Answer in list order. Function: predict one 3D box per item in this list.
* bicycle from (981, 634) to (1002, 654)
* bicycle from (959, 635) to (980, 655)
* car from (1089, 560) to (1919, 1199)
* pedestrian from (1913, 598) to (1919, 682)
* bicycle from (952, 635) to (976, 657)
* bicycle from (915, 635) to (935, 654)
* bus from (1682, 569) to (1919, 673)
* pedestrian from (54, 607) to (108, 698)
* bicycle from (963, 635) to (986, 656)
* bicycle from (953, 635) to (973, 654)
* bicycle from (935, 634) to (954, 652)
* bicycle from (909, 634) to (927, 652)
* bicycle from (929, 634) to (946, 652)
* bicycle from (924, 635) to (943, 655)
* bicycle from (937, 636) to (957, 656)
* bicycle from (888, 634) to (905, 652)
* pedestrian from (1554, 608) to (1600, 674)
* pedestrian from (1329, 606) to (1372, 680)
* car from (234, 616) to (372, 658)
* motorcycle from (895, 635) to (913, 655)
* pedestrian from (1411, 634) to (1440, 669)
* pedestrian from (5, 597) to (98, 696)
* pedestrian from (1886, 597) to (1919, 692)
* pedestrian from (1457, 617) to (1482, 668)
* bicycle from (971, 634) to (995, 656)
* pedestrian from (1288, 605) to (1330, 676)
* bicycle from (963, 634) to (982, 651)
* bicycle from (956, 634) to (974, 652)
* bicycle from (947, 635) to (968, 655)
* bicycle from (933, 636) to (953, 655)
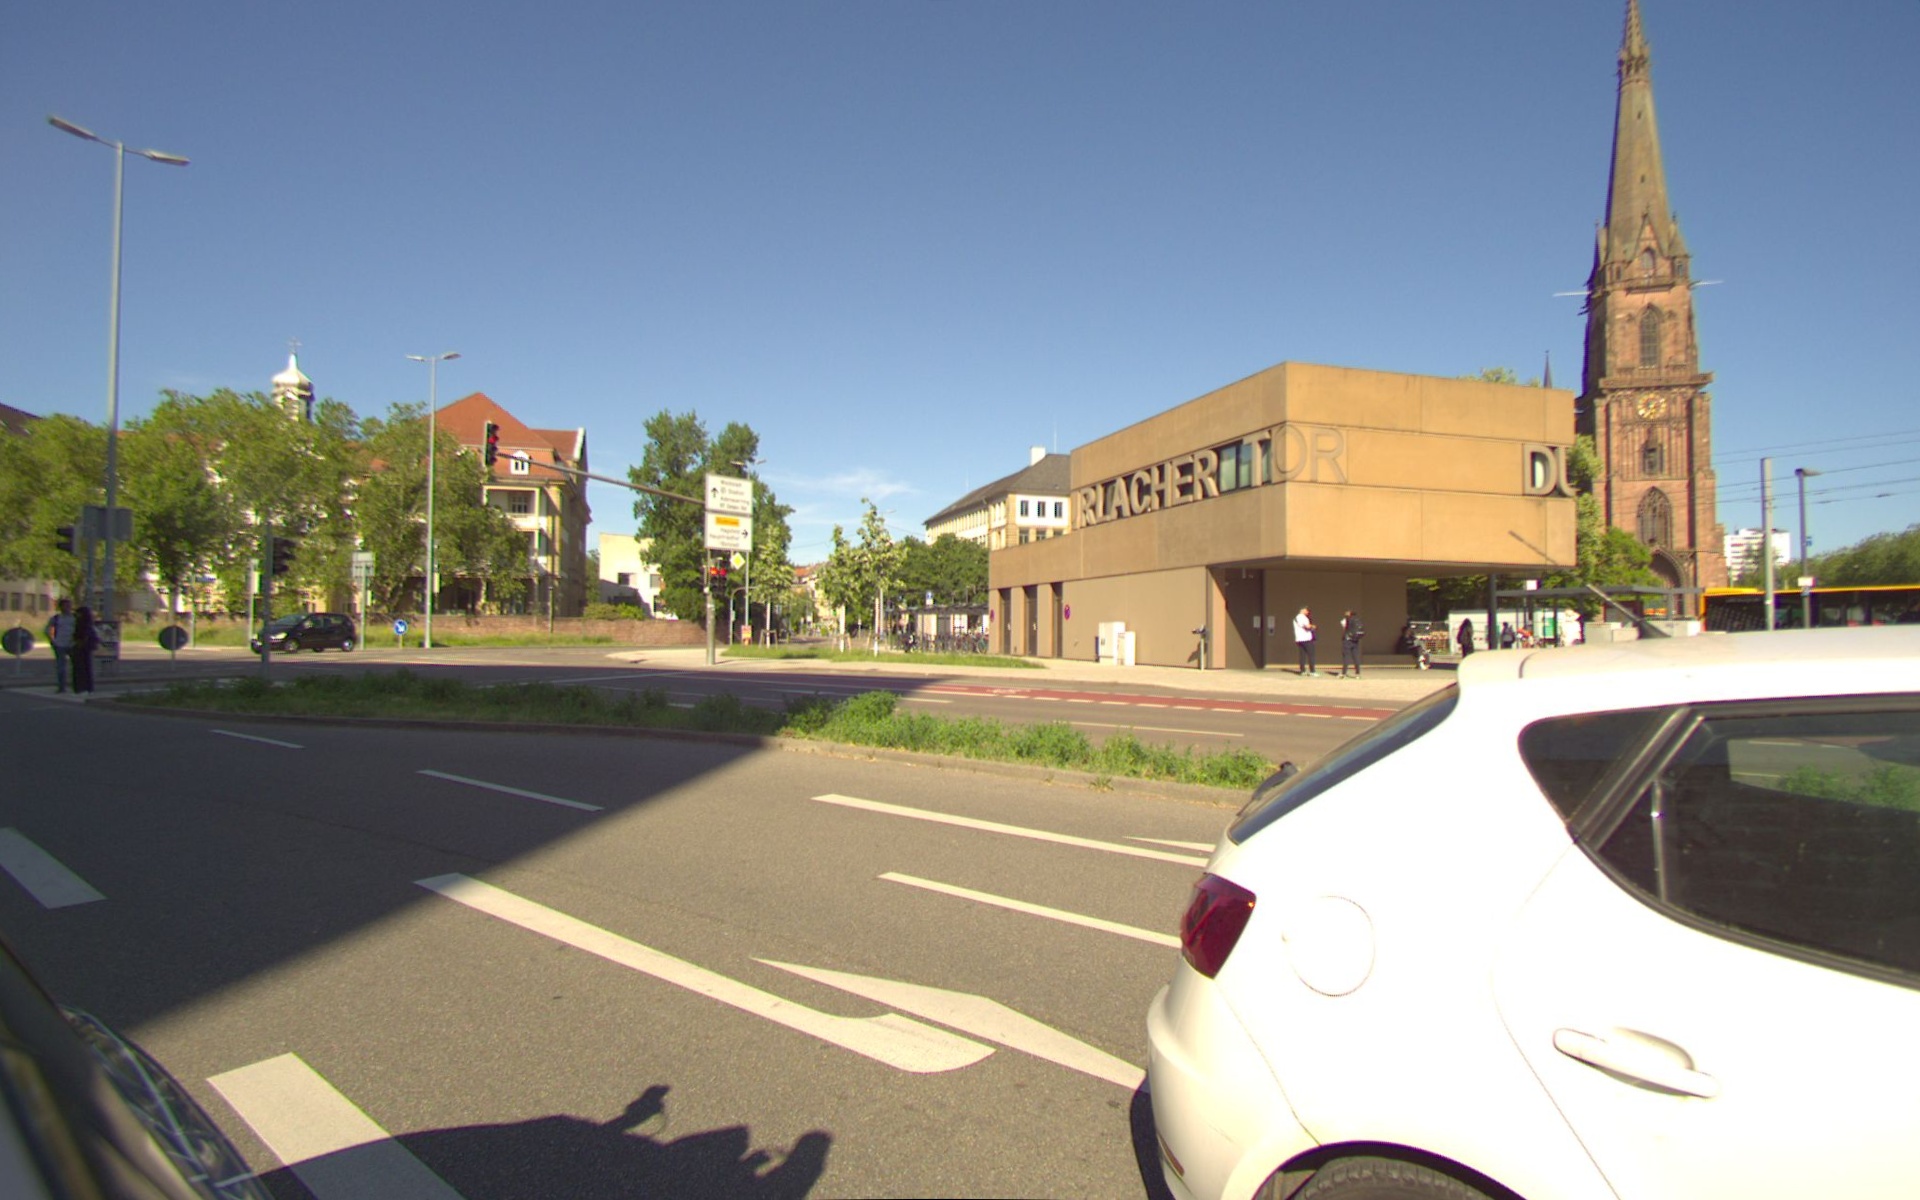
[{"bbox_3d":[1.753,2.470,56.680,0.558,1.046,1.794,2,-2,-20],"label":"bicycle"},{"bbox_3d":[0.514,2.503,56.265,0.558,1.046,1.794,2,-2,-20],"label":"bicycle"},{"bbox_3d":[2.198,0.660,1.260,3.734,1.446,1.674,-1,-1,40],"label":"car"},{"bbox_3d":[20.185,0.834,20.678,0.778,1.736,0.648,1,0,-4],"label":"pedestrian"},{"bbox_3d":[0.189,2.280,50.369,0.558,1.046,1.794,2,-2,-20],"label":"bicycle"},{"bbox_3d":[-1.981,2.521,57.327,0.558,1.046,1.794,2,-2,-20],"label":"bicycle"},{"bbox_3d":[30.853,0.712,33.022,2.923,3.240,12.625,0,-2,-17],"label":"bus"},{"bbox_3d":[-16.203,0.956,18.671,0.671,1.624,0.721,1,-2,-37],"label":"pedestrian"},{"bbox_3d":[0.755,2.368,52.483,0.558,1.046,1.794,2,-2,-20],"label":"bicycle"},{"bbox_3d":[0.174,2.567,58.461,0.558,1.046,1.794,2,-2,-20],"label":"bicycle"},{"bbox_3d":[-0.947,2.641,61.912,0.558,1.046,1.794,2,-2,-20],"label":"bicycle"},{"bbox_3d":[-2.657,2.698,63.544,0.558,1.046,1.794,2,-2,-20],"label":"bicycle"},{"bbox_3d":[-1.437,2.711,63.989,0.558,1.046,1.794,2,-2,-20],"label":"bicycle"},{"bbox_3d":[-1.514,2.561,57.724,0.558,1.046,1.794,2,-2,-20],"label":"bicycle"},{"bbox_3d":[-0.723,2.553,55.788,0.558,1.046,1.794,2,-2,-20],"label":"bicycle"},{"bbox_3d":[-3.962,2.686,63.081,0.558,1.046,1.794,2,-2,-20],"label":"bicycle"},{"bbox_3d":[16.433,1.084,26.956,0.777,1.736,0.649,1,0,-16],"label":"pedestrian"},{"bbox_3d":[9.512,1.031,24.635,0.634,1.736,0.749,1,0,-44],"label":"pedestrian"},{"bbox_3d":[-25.679,1.450,39.726,1.983,1.484,4.273,-3,-3,17],"label":"car"},{"bbox_3d":[-3.069,2.466,55.613,0.585,1.128,1.991,1,-2,-16],"label":"motorcycle"},{"bbox_3d":[13.453,1.498,29.256,0.501,0.973,0.576,1,0,-11],"label":"pedestrian"},{"bbox_3d":[-17.383,0.873,19.383,0.748,1.846,1.092,0,-1,10],"label":"pedestrian"},{"bbox_3d":[18.224,0.820,19.152,0.778,1.755,0.648,-1,0,-4],"label":"pedestrian"},{"bbox_3d":[15.592,1.291,30.981,0.509,1.521,0.738,1,0,40],"label":"pedestrian"},{"bbox_3d":[1.128,2.261,50.511,0.558,1.046,1.794,2,-2,-20],"label":"bicycle"},{"bbox_3d":[8.728,0.999,25.319,0.778,1.736,0.597,1,0,-4],"label":"pedestrian"},{"bbox_3d":[0.768,2.618,62.539,0.558,1.046,1.794,2,-2,-20],"label":"bicycle"},{"bbox_3d":[0.309,2.739,64.653,0.558,1.046,1.794,2,-2,-20],"label":"bicycle"},{"bbox_3d":[-0.165,2.479,55.994,0.558,1.046,1.794,2,-2,-20],"label":"bicycle"},{"bbox_3d":[-0.983,2.585,57.944,0.558,1.046,1.794,2,-2,-20],"label":"bicycle"}]
